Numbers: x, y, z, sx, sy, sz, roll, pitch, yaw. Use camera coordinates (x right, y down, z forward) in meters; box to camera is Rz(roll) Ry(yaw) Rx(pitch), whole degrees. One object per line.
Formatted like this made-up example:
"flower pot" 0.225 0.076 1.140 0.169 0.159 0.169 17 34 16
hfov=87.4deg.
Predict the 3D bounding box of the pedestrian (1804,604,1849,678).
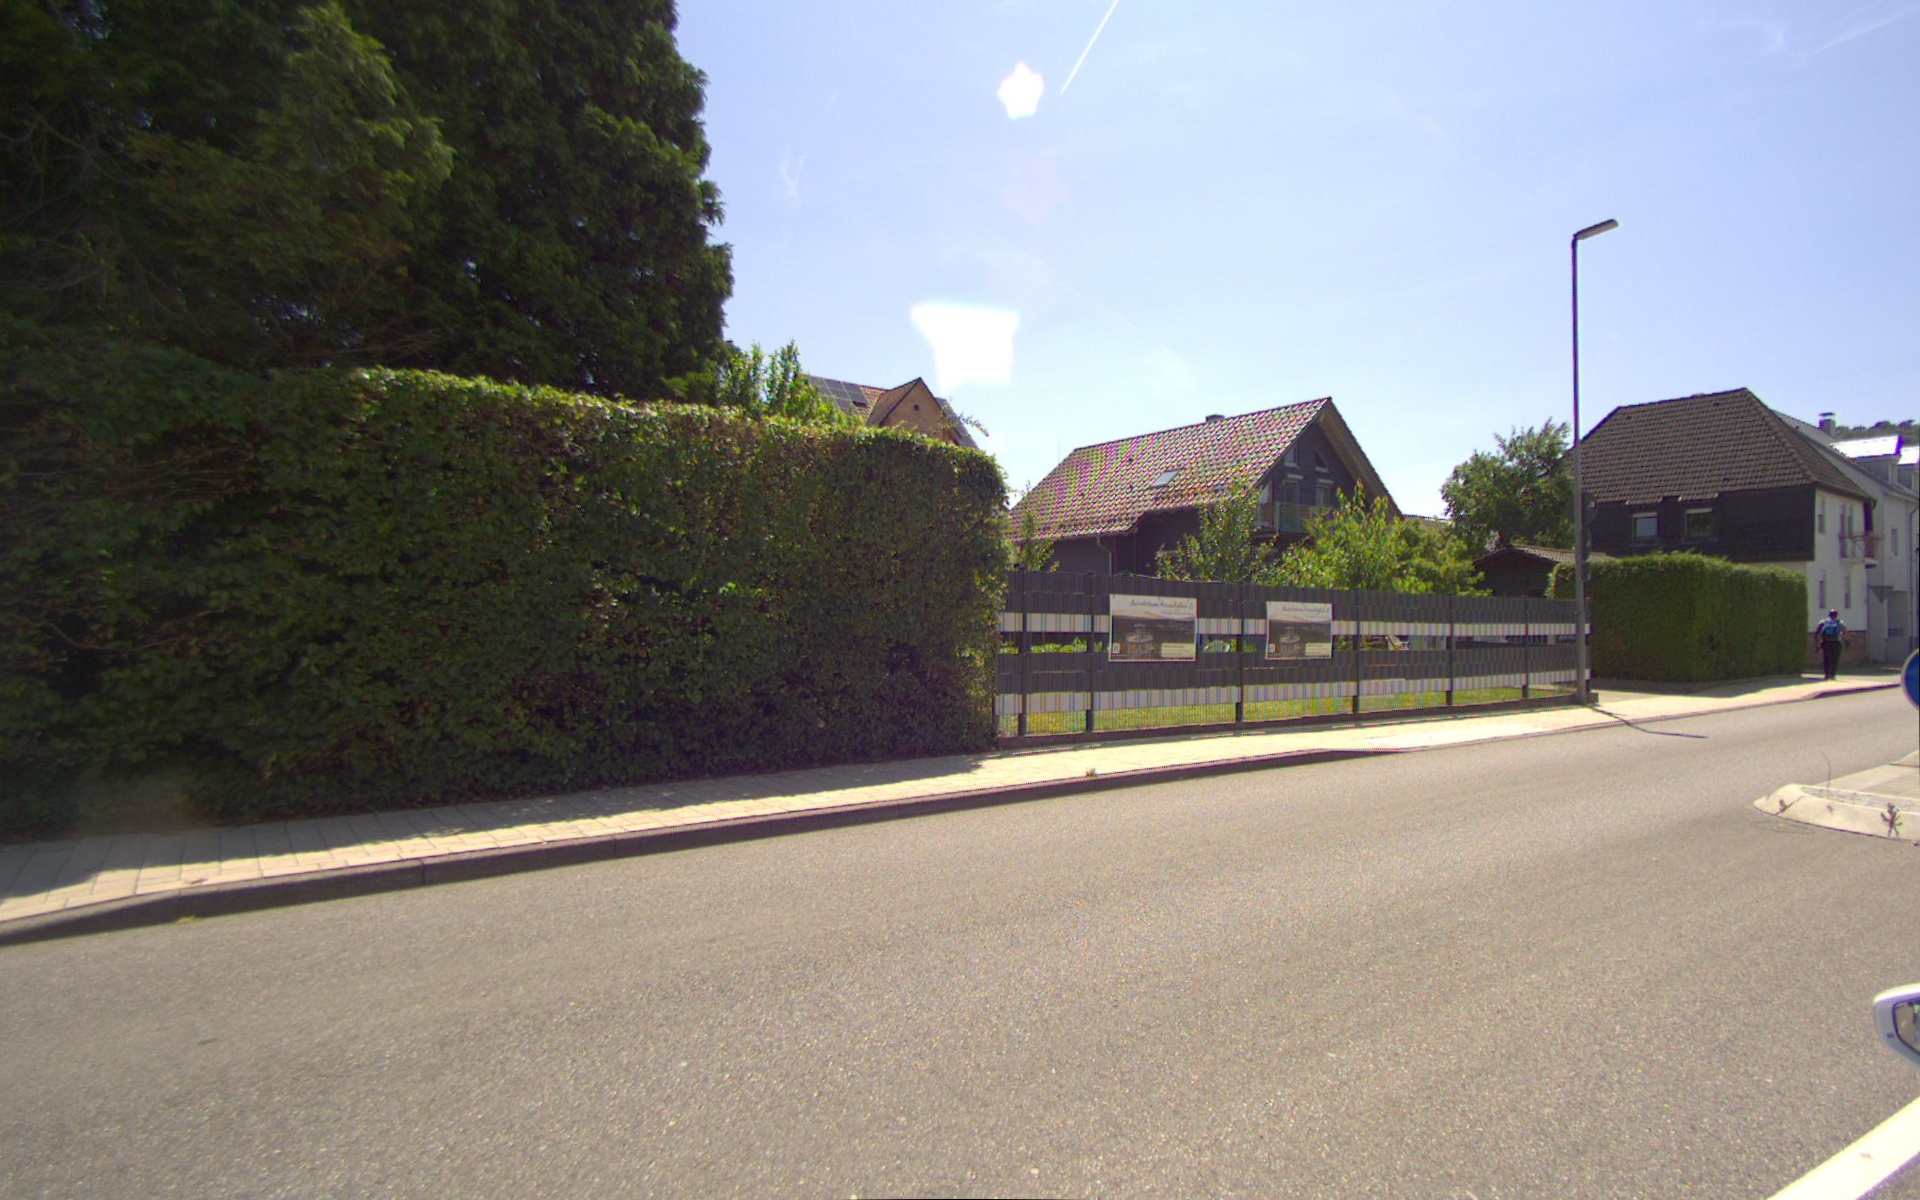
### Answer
"pedestrian" 22.044 1.035 25.554 0.891 1.847 0.706 2 0 -40
